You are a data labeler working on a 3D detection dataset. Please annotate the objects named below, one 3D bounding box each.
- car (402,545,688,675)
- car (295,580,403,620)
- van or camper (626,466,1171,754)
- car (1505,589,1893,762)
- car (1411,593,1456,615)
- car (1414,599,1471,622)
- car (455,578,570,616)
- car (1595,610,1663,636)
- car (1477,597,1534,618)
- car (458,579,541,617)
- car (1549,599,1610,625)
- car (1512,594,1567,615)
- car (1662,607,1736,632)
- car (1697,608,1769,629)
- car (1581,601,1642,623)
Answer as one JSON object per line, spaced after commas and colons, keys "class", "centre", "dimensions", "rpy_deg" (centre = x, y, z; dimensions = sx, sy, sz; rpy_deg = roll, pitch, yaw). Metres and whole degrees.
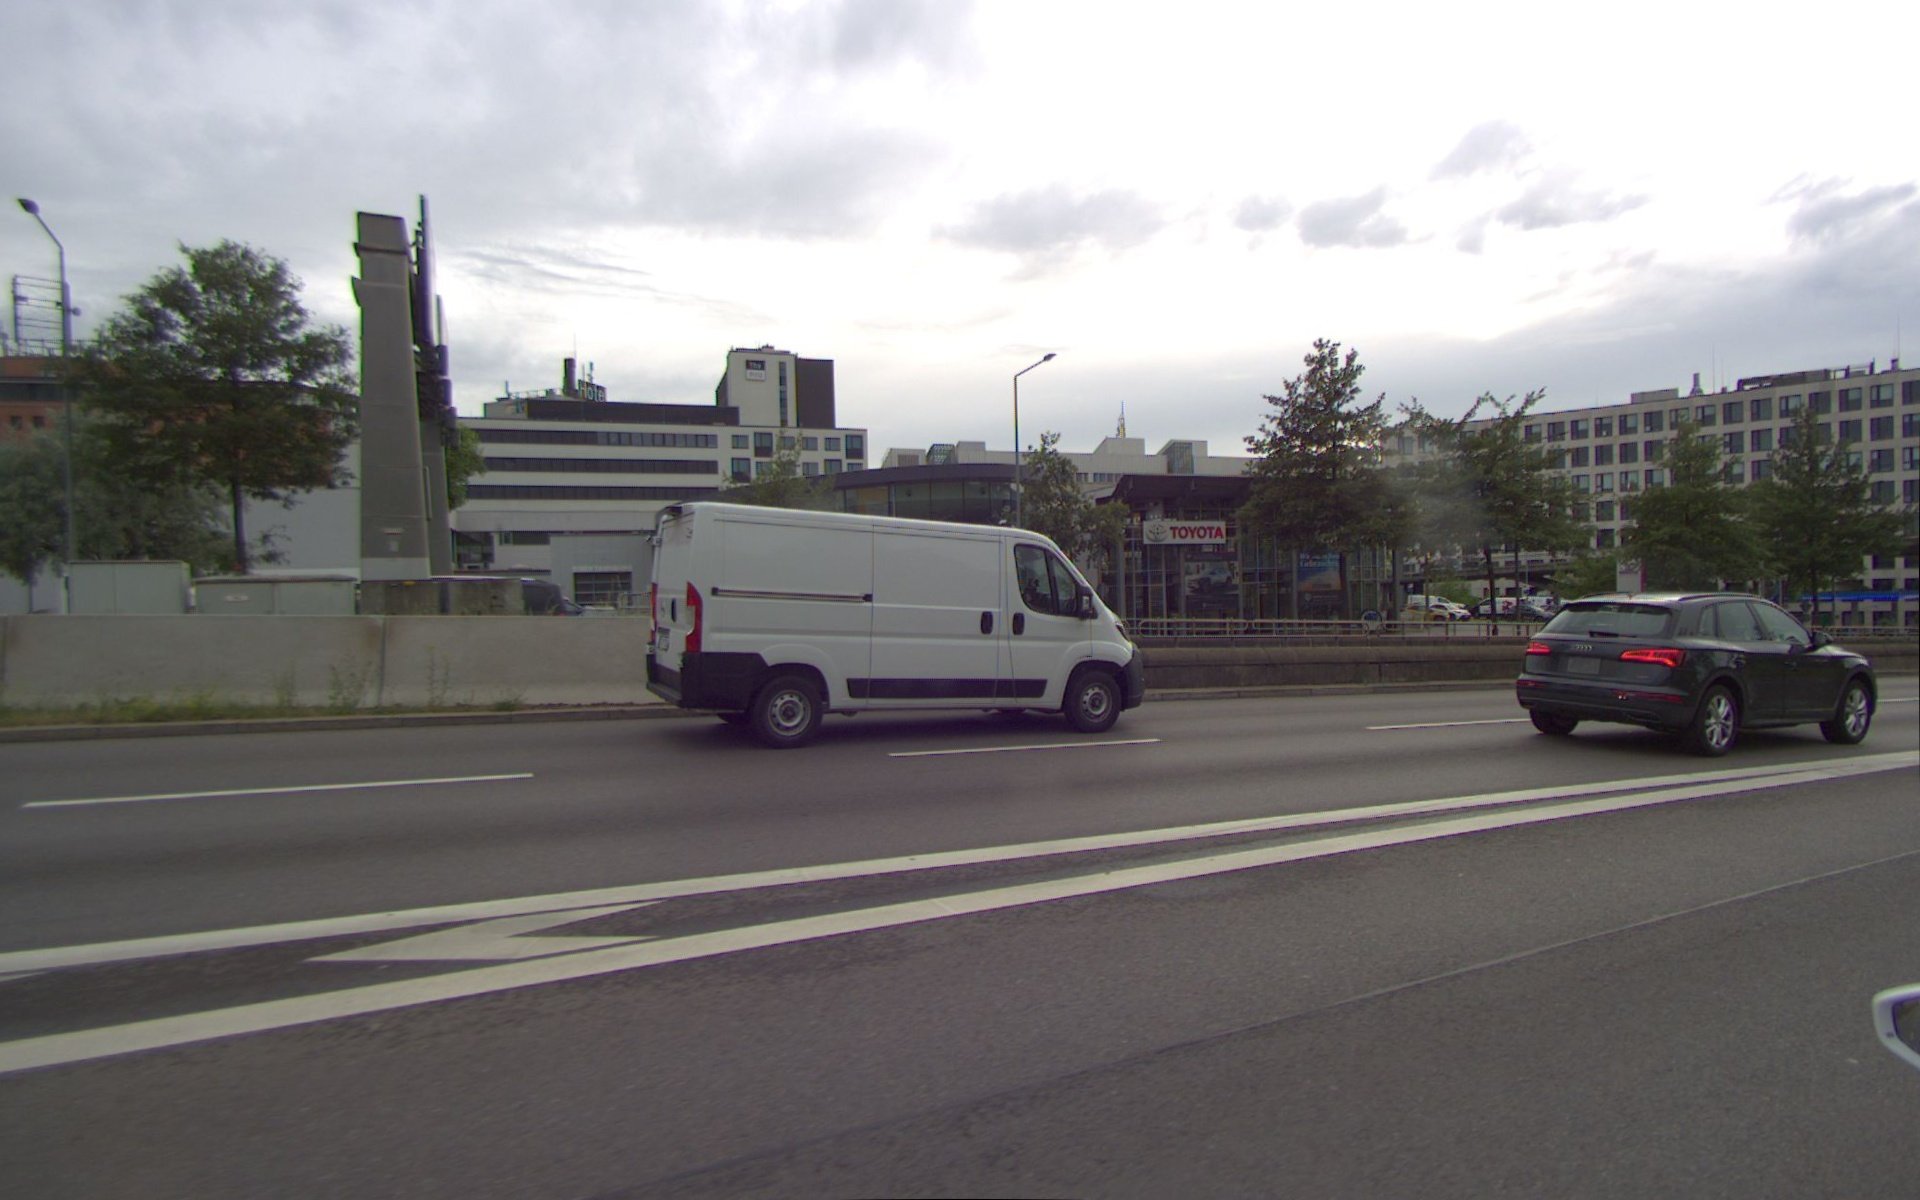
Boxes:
{"class": "car", "centre": [-5.799, 0.055, 14.154], "dimensions": [3.504, 1.612, 1.681], "rpy_deg": [-2, 3, -28]}
{"class": "car", "centre": [-28.463, -0.034, 46.905], "dimensions": [3.940, 1.707, 1.914], "rpy_deg": [-2, 3, -21]}
{"class": "van or camper", "centre": [-0.586, 0.137, 10.843], "dimensions": [5.460, 2.471, 2.195], "rpy_deg": [1, -1, -27]}
{"class": "car", "centre": [8.466, 0.756, 11.411], "dimensions": [4.690, 1.639, 1.743], "rpy_deg": [1, 0, -29]}
{"class": "car", "centre": [46.326, 0.382, 98.185], "dimensions": [3.925, 2.076, 1.997], "rpy_deg": [1, 3, 27]}
{"class": "car", "centre": [40.060, 0.867, 83.459], "dimensions": [1.970, 1.673, 3.980], "rpy_deg": [-2, 3, -20]}
{"class": "car", "centre": [-23.799, -0.155, 53.636], "dimensions": [5.452, 1.907, 1.990], "rpy_deg": [0, 2, -20]}
{"class": "car", "centre": [47.941, 1.614, 71.993], "dimensions": [3.933, 1.673, 1.994], "rpy_deg": [2, 2, 35]}
{"class": "car", "centre": [47.651, 0.626, 87.872], "dimensions": [1.974, 1.673, 3.971], "rpy_deg": [-2, 3, -27]}
{"class": "car", "centre": [-25.428, -0.143, 55.572], "dimensions": [3.939, 1.907, 1.990], "rpy_deg": [-2, 3, -20]}
{"class": "car", "centre": [51.138, 0.970, 82.991], "dimensions": [1.970, 1.902, 3.980], "rpy_deg": [-2, 3, -20]}
{"class": "car", "centre": [52.713, 0.366, 91.369], "dimensions": [1.799, 1.673, 3.969], "rpy_deg": [-2, 3, -29]}
{"class": "car", "centre": [55.005, 1.414, 74.870], "dimensions": [1.972, 1.673, 3.976], "rpy_deg": [1, 2, -23]}
{"class": "car", "centre": [59.253, 1.422, 77.045], "dimensions": [1.823, 1.372, 3.976], "rpy_deg": [1, 2, -23]}
{"class": "car", "centre": [55.649, 1.000, 85.886], "dimensions": [1.970, 1.673, 3.980], "rpy_deg": [-2, 3, -20]}
